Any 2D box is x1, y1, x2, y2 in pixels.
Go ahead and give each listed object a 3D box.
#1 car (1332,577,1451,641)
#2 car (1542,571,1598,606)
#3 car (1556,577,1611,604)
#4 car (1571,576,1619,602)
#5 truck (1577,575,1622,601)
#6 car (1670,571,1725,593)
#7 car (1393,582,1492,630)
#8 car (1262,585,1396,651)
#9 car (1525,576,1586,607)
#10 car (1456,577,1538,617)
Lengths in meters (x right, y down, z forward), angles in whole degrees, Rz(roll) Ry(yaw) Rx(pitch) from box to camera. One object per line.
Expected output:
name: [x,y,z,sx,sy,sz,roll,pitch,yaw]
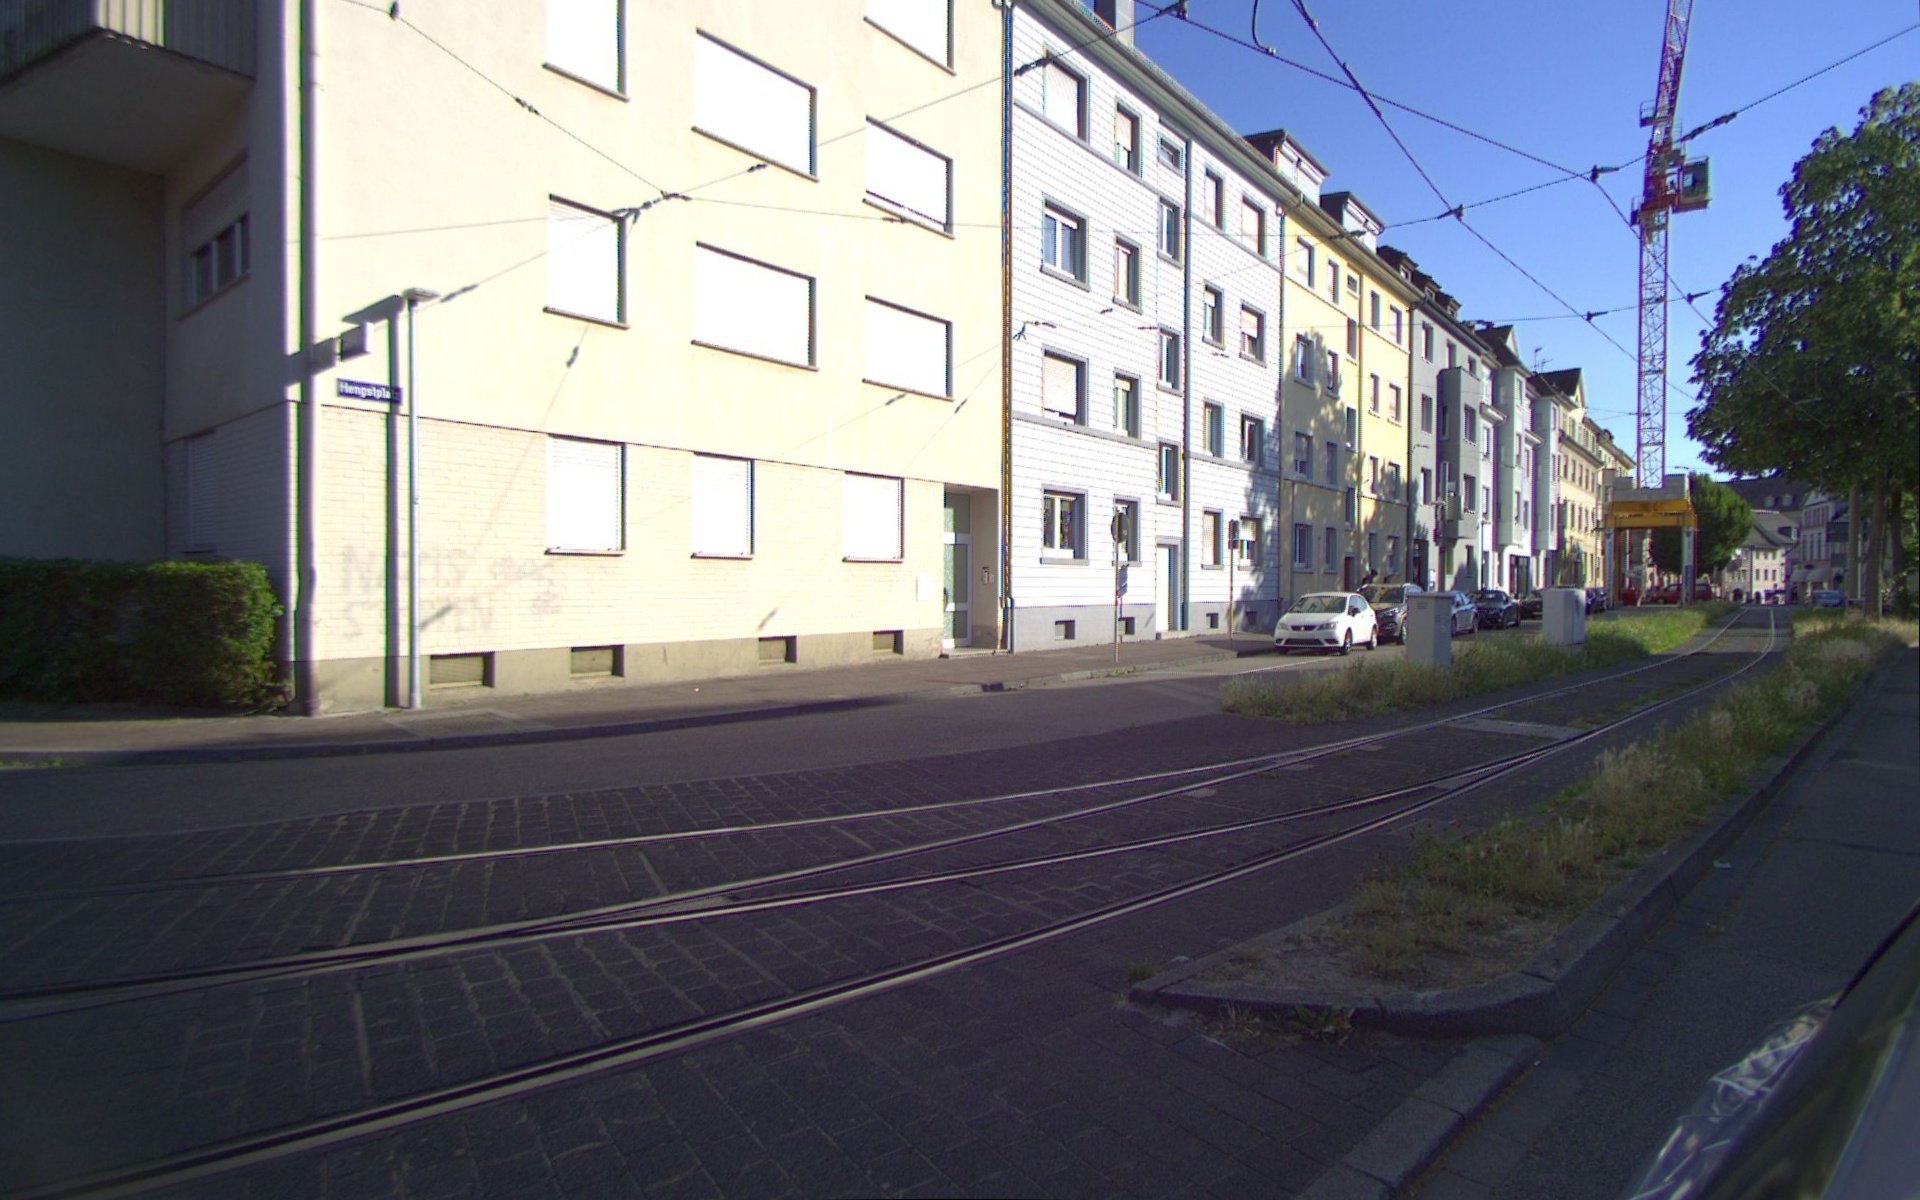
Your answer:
car: [12.307,0.182,28.680,1.990,1.591,4.578,2,2,38]
car: [31.845,-0.607,52.813,1.990,1.771,4.151,2,1,38]
car: [34.985,-0.525,56.726,1.992,1.404,4.147,2,1,41]
car: [38.041,-0.665,60.578,1.990,1.470,4.040,2,1,39]
truck: [41.240,-0.765,65.230,1.990,1.605,4.040,2,1,39]
car: [68.358,-1.702,93.797,4.049,1.945,1.973,2,1,37]
car: [15.699,0.155,32.842,1.990,1.404,4.385,2,1,38]
car: [9.053,0.375,24.635,1.987,1.404,4.390,2,1,35]
car: [28.738,-0.416,48.785,1.990,1.404,4.385,2,1,38]
car: [20.198,-0.131,37.984,1.990,1.404,4.385,2,1,38]
